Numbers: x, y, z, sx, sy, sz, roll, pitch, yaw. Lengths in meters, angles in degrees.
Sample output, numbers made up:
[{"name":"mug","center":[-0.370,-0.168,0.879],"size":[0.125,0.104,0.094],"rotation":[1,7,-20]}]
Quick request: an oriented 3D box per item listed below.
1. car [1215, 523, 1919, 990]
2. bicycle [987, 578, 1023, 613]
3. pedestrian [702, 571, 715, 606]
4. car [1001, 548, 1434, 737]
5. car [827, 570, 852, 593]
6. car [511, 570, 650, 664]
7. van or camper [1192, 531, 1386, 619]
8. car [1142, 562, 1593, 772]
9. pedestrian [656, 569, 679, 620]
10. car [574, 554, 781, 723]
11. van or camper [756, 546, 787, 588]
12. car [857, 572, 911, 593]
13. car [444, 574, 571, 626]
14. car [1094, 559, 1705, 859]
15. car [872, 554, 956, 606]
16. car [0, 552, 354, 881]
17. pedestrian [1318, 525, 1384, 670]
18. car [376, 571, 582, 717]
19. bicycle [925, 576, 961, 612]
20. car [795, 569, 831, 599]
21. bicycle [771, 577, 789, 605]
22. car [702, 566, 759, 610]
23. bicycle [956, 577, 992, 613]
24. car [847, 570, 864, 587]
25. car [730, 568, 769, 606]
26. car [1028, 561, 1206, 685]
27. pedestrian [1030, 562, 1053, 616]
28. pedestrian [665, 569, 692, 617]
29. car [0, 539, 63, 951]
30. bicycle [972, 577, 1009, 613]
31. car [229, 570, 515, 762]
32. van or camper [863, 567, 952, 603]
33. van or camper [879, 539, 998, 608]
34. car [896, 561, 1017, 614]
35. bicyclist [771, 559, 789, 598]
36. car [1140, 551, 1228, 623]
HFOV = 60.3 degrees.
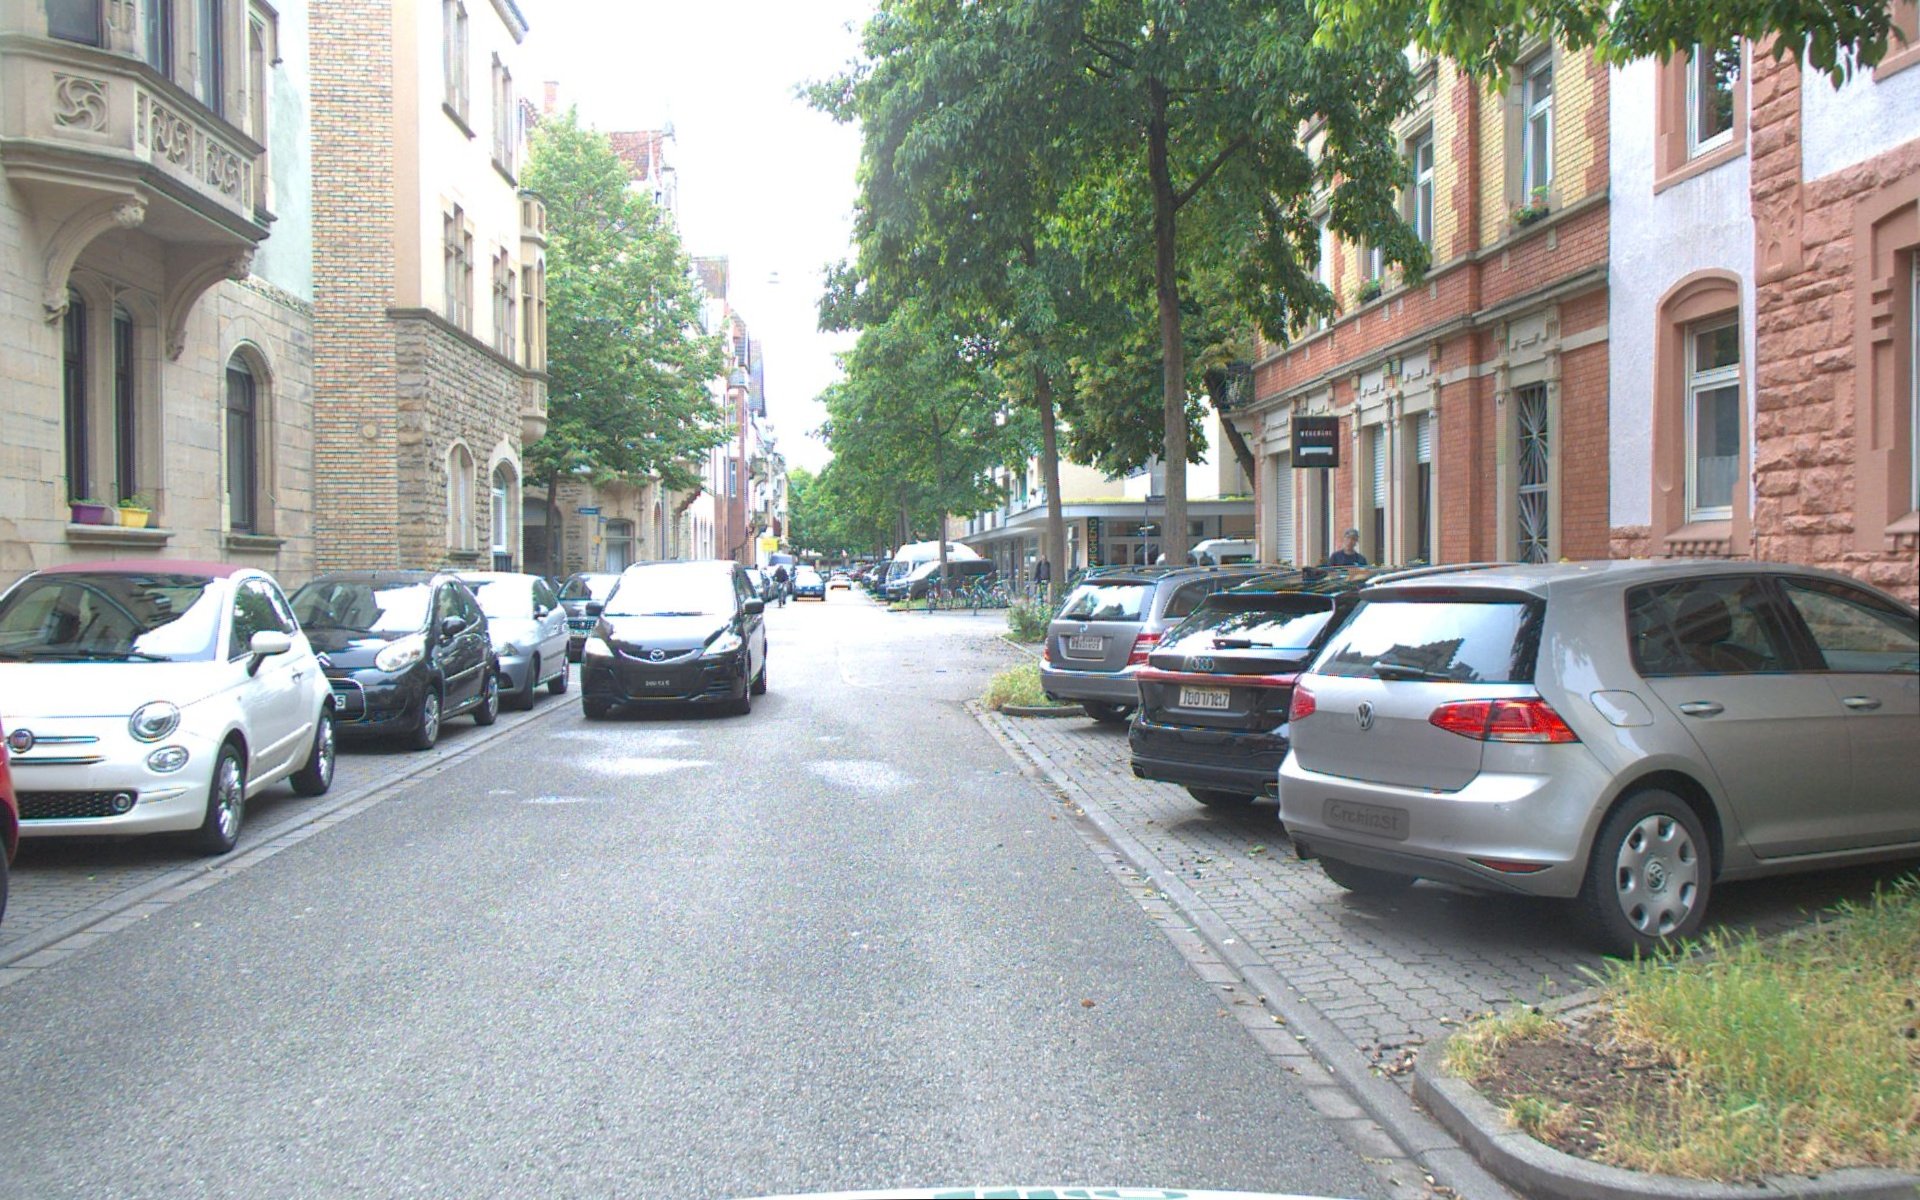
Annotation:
[{"name":"car","center":[3.018,0.502,7.203],"size":[3.416,1.590,1.771],"rotation":[0,1,-27]},{"name":"bicycle","center":[1.546,-0.170,57.620],"size":[0.541,1.194,1.684],"rotation":[-1,1,-25]},{"name":"pedestrian","center":[-11.211,-0.518,73.632],"size":[0.505,1.545,0.546],"rotation":[-1,1,-4]},{"name":"car","center":[2.597,0.328,15.985],"size":[4.408,1.452,1.732],"rotation":[-4,2,-42]},{"name":"car","center":[-9.843,-1.515,135.330],"size":[1.954,1.825,3.997],"rotation":[1,0,-3]},{"name":"car","center":[-6.416,0.239,28.332],"size":[1.693,1.459,3.879],"rotation":[1,1,-4]},{"name":"van or camper","center":[10.127,-0.803,51.279],"size":[5.650,2.537,2.138],"rotation":[-1,4,2]},{"name":"car","center":[3.452,0.436,13.692],"size":[3.847,1.460,1.721],"rotation":[-2,2,-40]},{"name":"pedestrian","center":[-9.725,-0.181,54.960],"size":[0.603,1.672,0.604],"rotation":[0,1,8]},{"name":"car","center":[-3.024,0.333,18.497],"size":[1.773,1.658,4.206],"rotation":[0,1,-3]},{"name":"van or camper","center":[-13.788,-2.432,121.107],"size":[1.968,2.696,5.314],"rotation":[2,4,-4]},{"name":"car","center":[-6.157,-1.417,133.705],"size":[3.977,1.586,1.861],"rotation":[-1,1,-35]},{"name":"car","center":[-14.400,-0.005,52.773],"size":[3.493,1.485,1.651],"rotation":[-1,3,5]},{"name":"car","center":[2.738,0.508,10.023],"size":[3.653,1.492,1.684],"rotation":[-1,1,-36]},{"name":"car","center":[-2.028,-0.915,74.470],"size":[2.020,2.234,4.396],"rotation":[0,1,25]},{"name":"car","center":[-4.722,0.511,9.488],"size":[1.635,1.537,3.547],"rotation":[0,1,-9]},{"name":"pedestrian","center":[4.851,-0.039,20.542],"size":[0.586,1.763,0.663],"rotation":[-1,1,-6]},{"name":"car","center":[-5.401,0.425,19.000],"size":[1.558,1.459,3.806],"rotation":[1,1,-5]},{"name":"bicycle","center":[-0.591,-0.209,55.976],"size":[0.541,1.194,1.714],"rotation":[-1,1,-25]},{"name":"car","center":[-7.366,-0.782,82.966],"size":[1.674,1.438,3.849],"rotation":[-1,0,-4]},{"name":"bicycle","center":[-7.377,-0.378,67.831],"size":[0.621,1.113,1.798],"rotation":[-1,0,-2]},{"name":"car","center":[-8.240,-0.416,59.655],"size":[1.675,1.521,3.998],"rotation":[1,0,-3]},{"name":"bicycle","center":[0.476,-0.190,56.816],"size":[0.541,1.194,1.714],"rotation":[-1,1,-25]},{"name":"car","center":[-12.912,-2.666,203.782],"size":[1.955,2.048,3.996],"rotation":[2,1,-5]},{"name":"car","center":[-9.454,-0.601,74.341],"size":[1.614,1.598,2.954],"rotation":[1,2,-5]},{"name":"car","center":[2.107,0.253,23.434],"size":[1.729,1.512,4.476],"rotation":[-3,1,-4]},{"name":"pedestrian","center":[2.785,-0.383,56.539],"size":[0.763,1.828,0.509],"rotation":[0,1,-3]},{"name":"pedestrian","center":[-9.519,-0.248,55.856],"size":[0.619,1.621,0.667],"rotation":[1,1,37]},{"name":"car","center":[-4.238,0.568,4.878],"size":[1.436,1.557,3.566],"rotation":[1,1,-4]},{"name":"bicycle","center":[1.043,-0.179,57.142],"size":[0.541,1.194,1.714],"rotation":[-1,1,-25]},{"name":"car","center":[-5.051,0.485,14.642],"size":[1.487,1.459,3.453],"rotation":[1,1,-4]},{"name":"van or camper","center":[-3.155,-0.915,100.122],"size":[4.958,1.902,2.104],"rotation":[-3,1,-32]},{"name":"van or camper","center":[-0.828,-1.060,65.673],"size":[4.548,2.641,1.886],"rotation":[-1,1,-37]},{"name":"car","center":[-0.121,-0.496,63.592],"size":[4.286,1.886,1.892],"rotation":[-2,1,-30]},{"name":"bicyclist","center":[-7.382,-0.873,67.833],"size":[0.634,1.565,0.676],"rotation":[-1,1,-2]},{"name":"car","center":[6.119,-0.389,45.570],"size":[1.734,1.850,3.999],"rotation":[-2,1,-2]}]
